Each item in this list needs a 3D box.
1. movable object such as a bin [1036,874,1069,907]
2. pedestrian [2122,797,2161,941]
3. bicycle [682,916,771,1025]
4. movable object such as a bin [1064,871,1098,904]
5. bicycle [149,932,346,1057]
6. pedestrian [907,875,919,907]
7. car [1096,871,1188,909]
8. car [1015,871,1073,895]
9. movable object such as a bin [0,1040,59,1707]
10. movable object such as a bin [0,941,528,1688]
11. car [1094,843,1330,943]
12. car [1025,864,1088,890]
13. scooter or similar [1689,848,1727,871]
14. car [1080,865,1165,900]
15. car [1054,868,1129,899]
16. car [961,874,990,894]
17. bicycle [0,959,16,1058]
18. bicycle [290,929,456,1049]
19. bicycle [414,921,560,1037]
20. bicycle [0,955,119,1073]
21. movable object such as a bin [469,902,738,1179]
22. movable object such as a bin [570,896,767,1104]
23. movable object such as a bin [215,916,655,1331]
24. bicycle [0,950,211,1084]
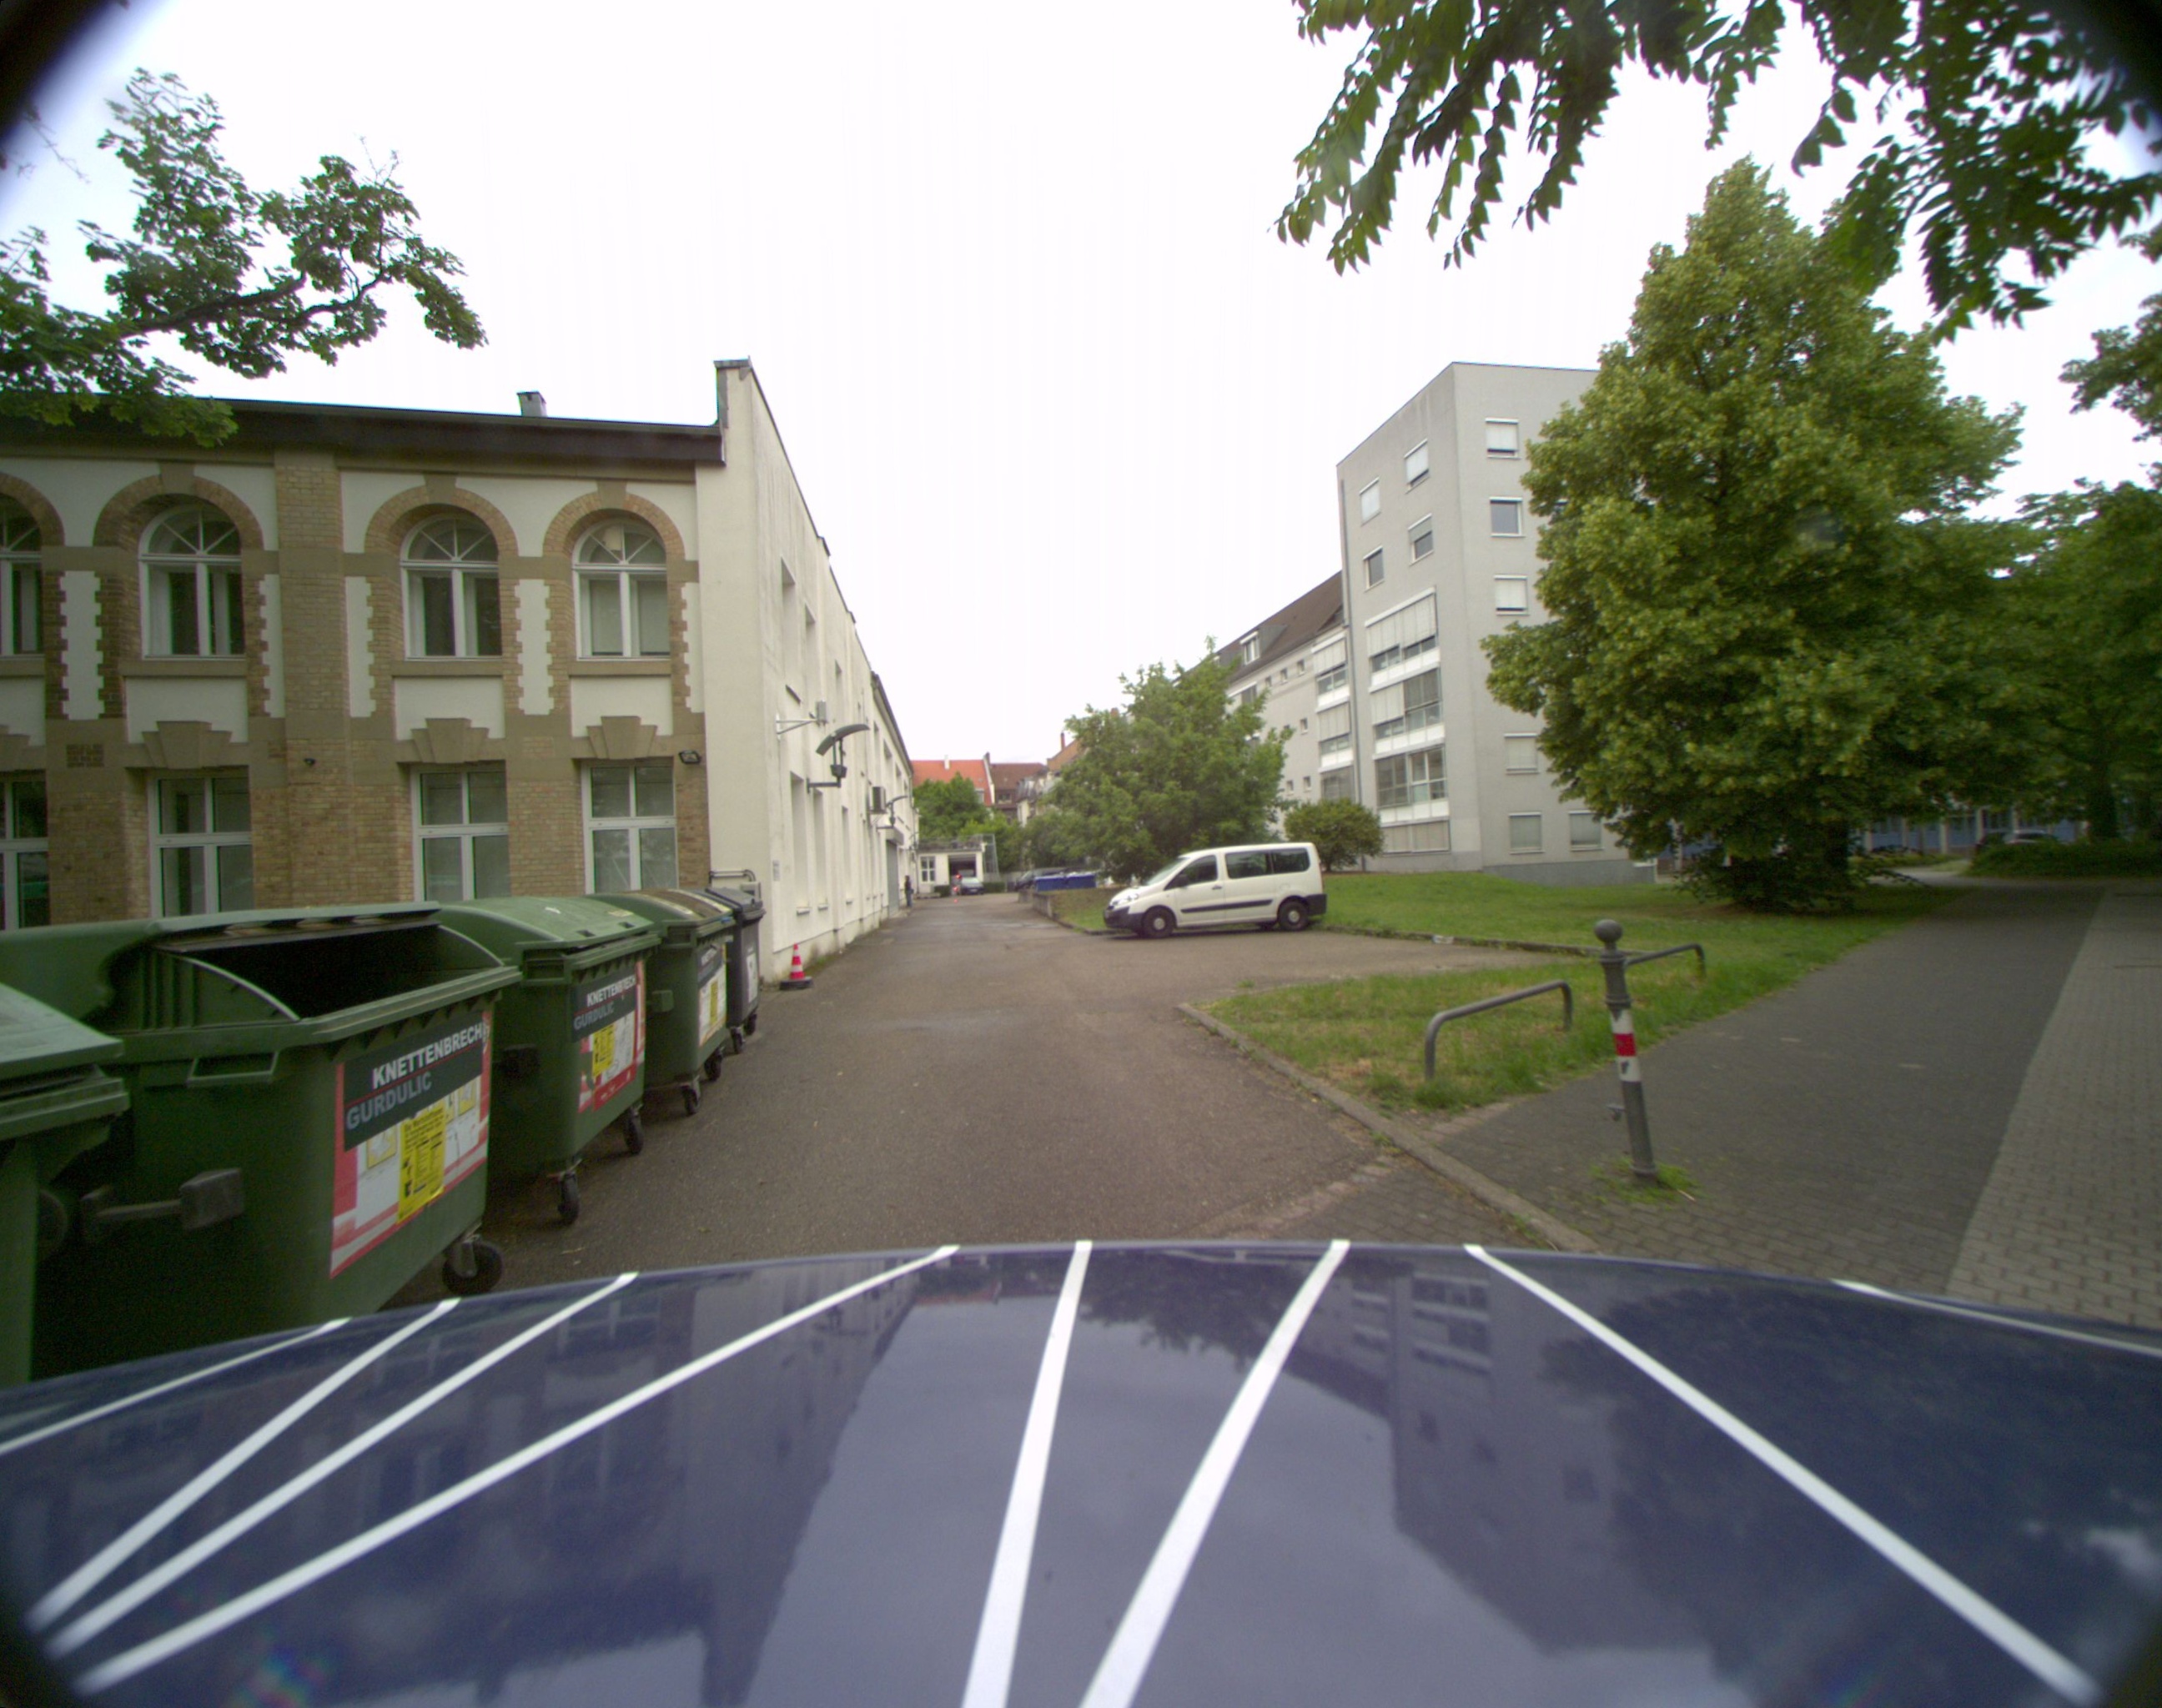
[{"bbox_3d":[-1.214,1.545,32.178,1.181,1.299,1.227,-3,-1,-11],"label":"movable object such as a bin"},{"bbox_3d":[13.312,0.170,9.125,0.621,1.739,0.681,-3,0,-5],"label":"pedestrian"},{"bbox_3d":[-4.406,1.397,9.558,0.460,1.108,1.744,-3,-1,-7],"label":"bicycle"},{"bbox_3d":[-0.024,1.425,32.410,1.181,1.299,1.227,-3,-1,-11],"label":"movable object such as a bin"},{"bbox_3d":[-9.383,1.530,8.659,0.460,1.108,1.744,-3,-1,-7],"label":"bicycle"},{"bbox_3d":[-8.522,1.867,38.506,0.499,1.553,0.429,-3,0,-13],"label":"pedestrian"},{"bbox_3d":[3.201,1.876,40.008,4.343,1.724,1.998,-3,0,-15],"label":"car"},{"bbox_3d":[-3.067,2.383,62.543,4.343,1.724,1.998,-3,0,-15],"label":"car"},{"bbox_3d":[-2.341,1.058,0.684,1.071,1.426,1.275,-3,0,0],"label":"movable object such as a bin"},{"bbox_3d":[-2.575,1.071,2.211,1.109,1.441,1.285,-3,0,-15],"label":"movable object such as a bin"},{"bbox_3d":[2.848,0.857,17.100,4.772,1.861,1.901,-3,-3,-8],"label":"car"},{"bbox_3d":[-1.860,1.704,57.519,4.343,1.724,1.998,-3,0,-15],"label":"car"},{"bbox_3d":[35.356,0.313,42.846,2.522,1.181,0.794,-2,0,-31],"label":"scooter or similar"},{"bbox_3d":[2.358,1.610,43.605,4.343,1.724,1.998,-3,0,-15],"label":"car"},{"bbox_3d":[0.648,1.838,48.369,4.343,1.724,1.998,-3,0,-15],"label":"car"},{"bbox_3d":[-8.551,2.388,61.450,1.921,1.390,3.996,-3,0,-12],"label":"car"},{"bbox_3d":[-12.409,1.754,7.852,0.460,1.108,1.744,-3,-1,-7],"label":"bicycle"},{"bbox_3d":[-8.285,1.530,8.994,0.460,1.108,1.744,-3,-1,-7],"label":"bicycle"},{"bbox_3d":[-7.036,1.433,9.108,0.460,1.108,1.744,-3,-1,-5],"label":"bicycle"},{"bbox_3d":[-11.576,1.746,8.131,0.460,1.108,1.744,-3,-1,-7],"label":"bicycle"},{"bbox_3d":[-3.036,1.098,5.053,1.109,1.441,1.325,-3,0,-15],"label":"movable object such as a bin"},{"bbox_3d":[-3.410,1.134,6.469,1.109,1.441,1.361,-3,0,-15],"label":"movable object such as a bin"},{"bbox_3d":[-2.896,1.089,3.666,1.109,1.441,1.293,-3,0,-15],"label":"movable object such as a bin"},{"bbox_3d":[-10.614,1.699,8.246,0.460,1.108,1.744,-3,-1,-7],"label":"bicycle"}]
